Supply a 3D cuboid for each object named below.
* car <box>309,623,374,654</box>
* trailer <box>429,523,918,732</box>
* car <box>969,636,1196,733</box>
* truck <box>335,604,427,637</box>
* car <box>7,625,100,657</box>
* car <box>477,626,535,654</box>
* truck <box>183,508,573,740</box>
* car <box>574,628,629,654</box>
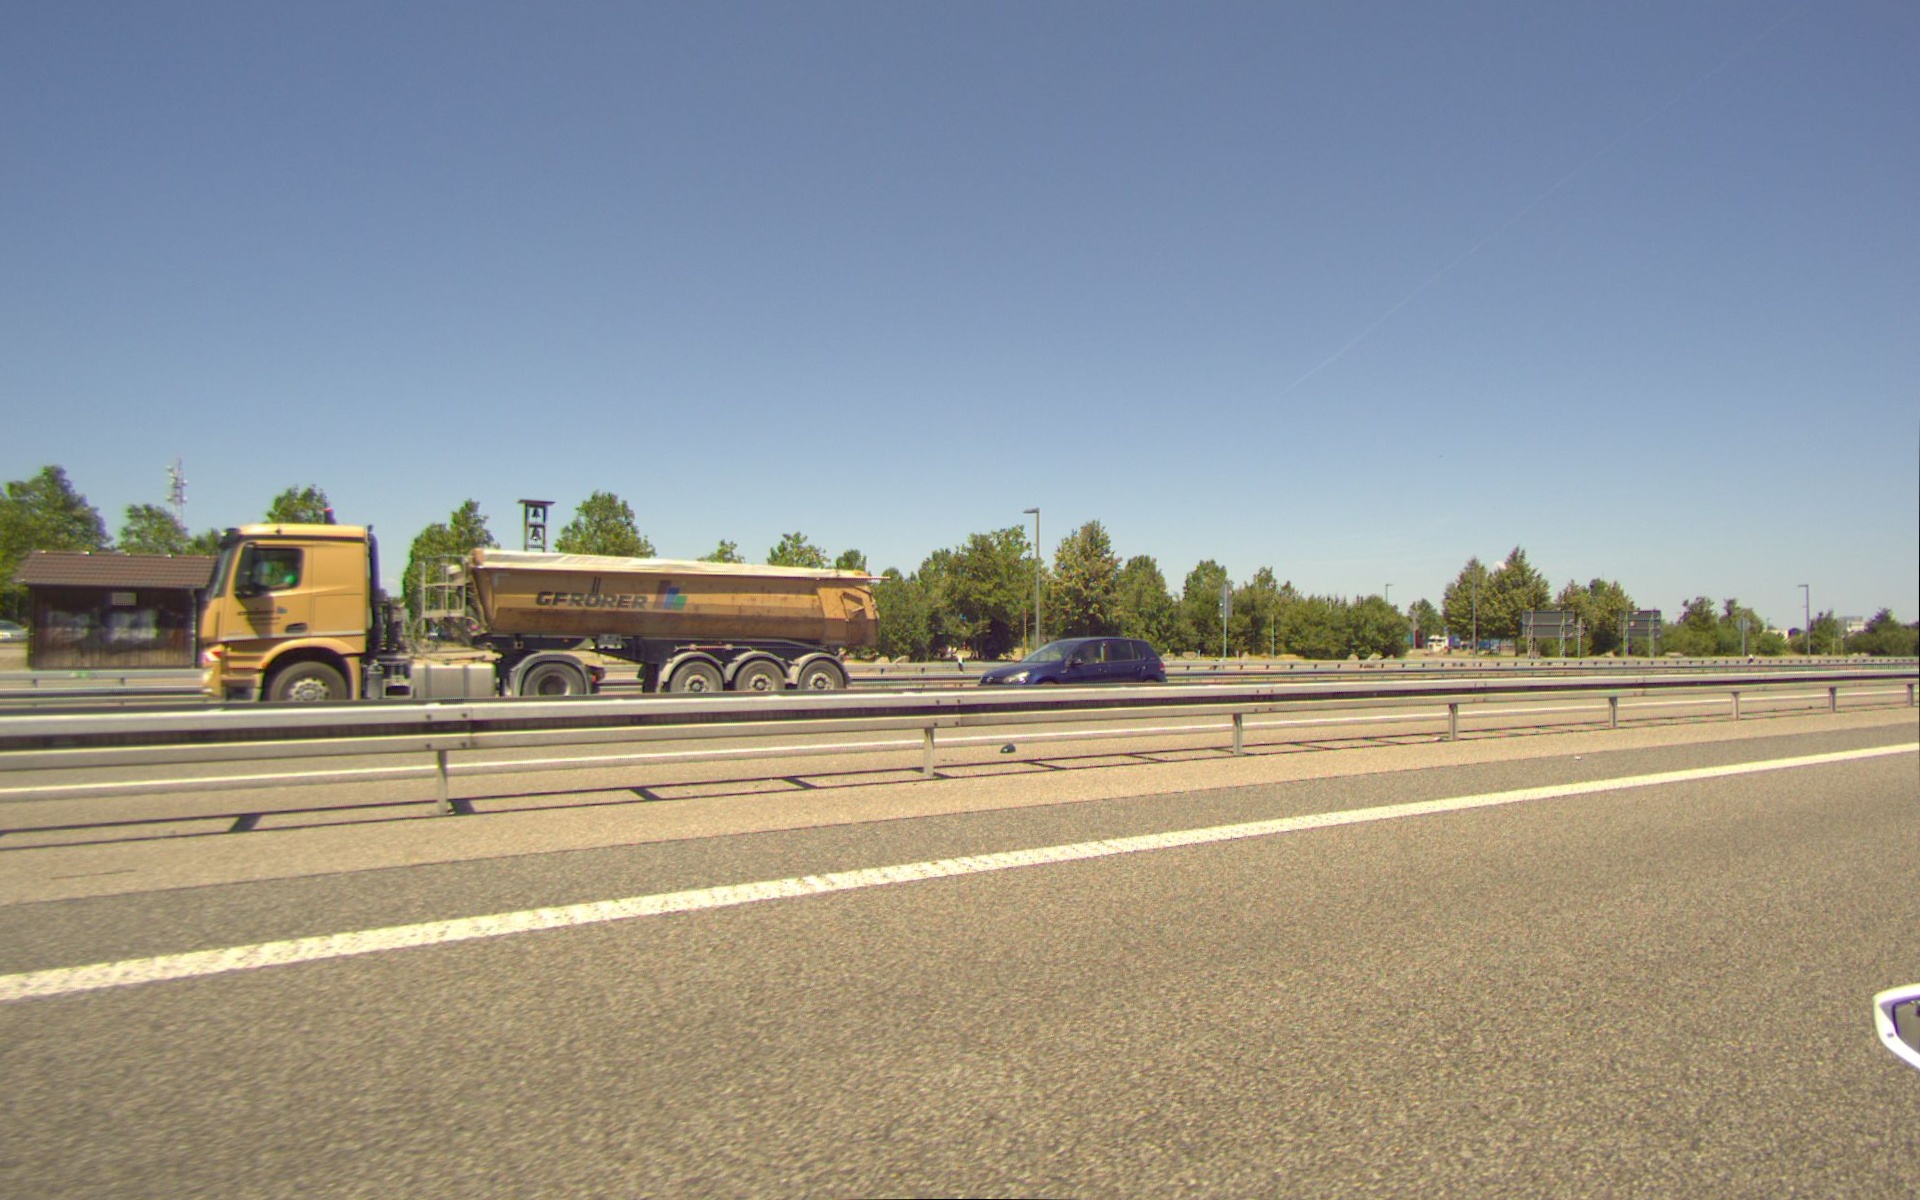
[{"bbox_3d":[-37.663,2.322,61.173,3.427,1.693,1.697,2,0,24],"label":"car"},{"bbox_3d":[-5.621,0.589,20.708,9.261,3.562,2.769,2,0,-31],"label":"trailer"},{"bbox_3d":[2.540,1.656,20.514,4.433,1.737,1.737,2,0,-30],"label":"car"},{"bbox_3d":[-47.773,1.683,83.115,2.097,2.526,6.934,2,0,18],"label":"truck"},{"bbox_3d":[-48.947,2.184,54.290,3.672,1.630,1.541,2,0,-44],"label":"car"},{"bbox_3d":[-29.892,2.600,66.169,3.334,1.693,1.548,2,0,21],"label":"car"},{"bbox_3d":[-10.161,0.431,18.049,5.580,3.562,2.769,2,0,-30],"label":"truck"},{"bbox_3d":[-24.699,2.799,69.245,3.214,1.629,1.548,2,0,1],"label":"car"}]
